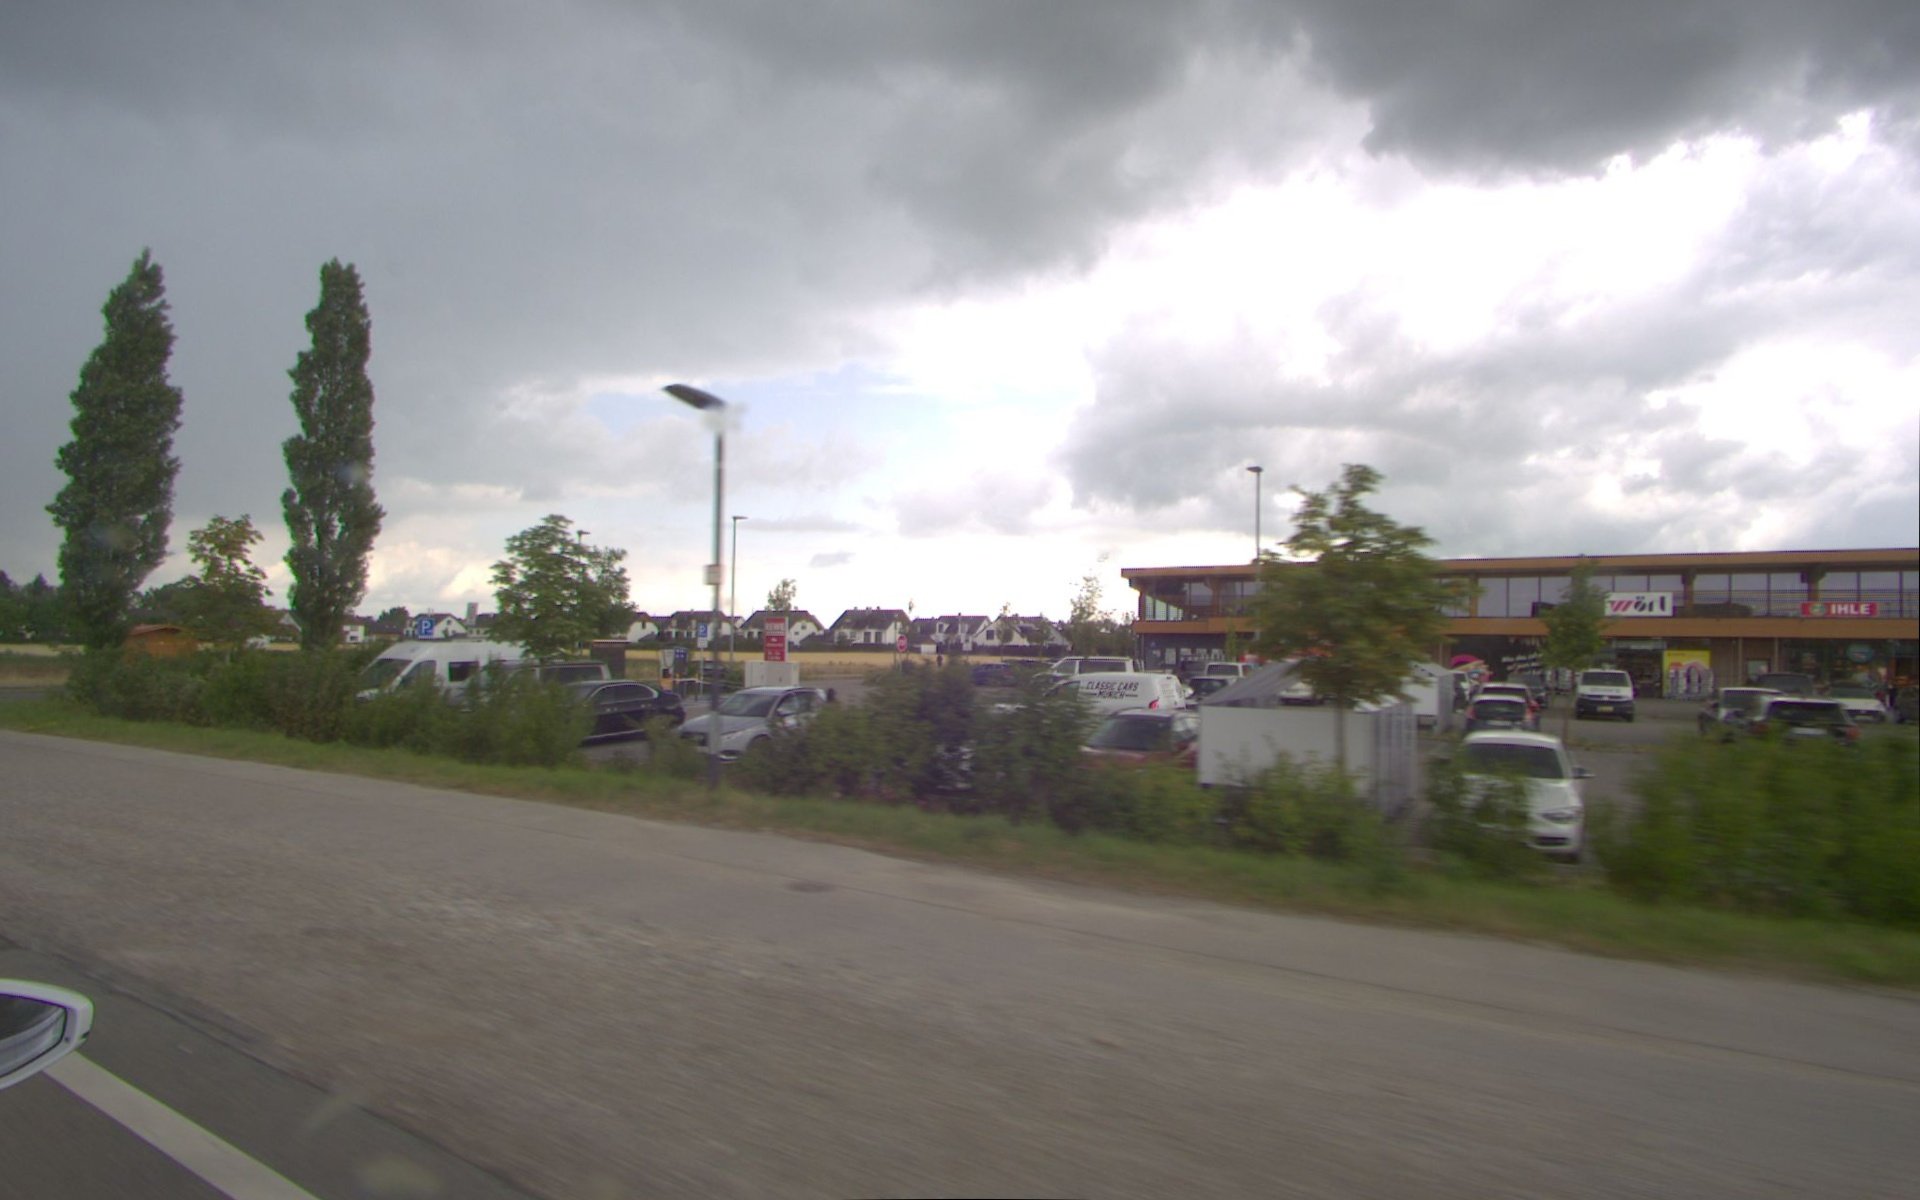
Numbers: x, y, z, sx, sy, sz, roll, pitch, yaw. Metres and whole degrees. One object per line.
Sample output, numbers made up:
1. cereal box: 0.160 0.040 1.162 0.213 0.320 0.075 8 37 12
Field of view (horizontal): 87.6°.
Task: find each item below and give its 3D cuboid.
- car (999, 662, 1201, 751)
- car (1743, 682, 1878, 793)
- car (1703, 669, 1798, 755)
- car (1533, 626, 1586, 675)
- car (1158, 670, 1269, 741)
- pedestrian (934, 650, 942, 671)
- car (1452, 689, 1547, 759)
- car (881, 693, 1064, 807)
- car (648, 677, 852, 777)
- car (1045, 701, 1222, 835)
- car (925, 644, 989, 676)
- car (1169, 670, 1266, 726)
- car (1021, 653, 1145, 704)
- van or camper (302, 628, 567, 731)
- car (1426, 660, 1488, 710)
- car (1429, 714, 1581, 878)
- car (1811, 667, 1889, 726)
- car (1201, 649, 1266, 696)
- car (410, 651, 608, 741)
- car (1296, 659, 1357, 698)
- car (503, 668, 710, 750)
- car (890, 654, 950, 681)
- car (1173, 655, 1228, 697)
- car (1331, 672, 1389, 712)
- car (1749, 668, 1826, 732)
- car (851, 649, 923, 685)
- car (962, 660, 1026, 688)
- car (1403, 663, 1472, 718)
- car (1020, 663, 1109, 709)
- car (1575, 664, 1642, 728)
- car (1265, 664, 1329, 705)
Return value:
1. car: 3.625 2.707 26.337 4.876 1.931 2.097 0 -1 35
2. car: 18.647 2.915 22.138 1.974 1.895 4.247 0 -1 36
3. car: 22.378 3.099 28.487 1.974 2.040 3.974 0 -1 36
4. car: 27.062 2.210 45.276 1.970 2.040 5.122 0 -1 31
5. car: 7.311 2.927 28.627 1.971 1.639 3.980 0 -1 32
6. pedestrian: -1.895 5.232 86.286 0.591 1.784 0.481 0 0 32
7. car: 13.895 3.093 25.676 1.971 1.460 3.983 0 -3 31
8. car: 0.365 2.698 18.828 1.651 1.558 4.141 0 -1 30
9. car: -4.363 2.601 21.415 2.049 1.618 4.141 0 -1 30
10. car: 2.931 2.599 16.290 1.651 1.558 3.751 0 -1 30
11. car: -0.237 4.067 68.155 3.943 2.040 1.990 0 -1 32
12. car: 9.077 3.368 35.089 1.974 1.639 3.974 0 -1 36
13. car: 5.402 3.392 43.762 5.138 2.040 1.998 0 -1 16
14. van or camper: -14.514 2.059 28.240 2.247 2.496 6.459 0 -1 29
15. car: 23.494 3.969 47.284 1.974 2.040 3.974 0 -1 36
16. car: 7.630 2.570 13.988 1.651 1.558 3.751 0 -1 30
17. car: 35.827 3.837 40.426 1.974 2.040 3.974 0 -1 36
18. car: 12.889 3.353 47.026 2.008 1.936 3.888 0 -1 30
19. car: -11.984 2.468 26.905 1.970 2.040 4.587 0 -1 30
20. car: 18.801 3.981 51.264 1.920 1.772 3.974 0 -1 36
21. car: -8.801 2.661 25.433 1.732 1.618 5.089 0 -1 30
22. car: -2.582 4.304 64.212 3.528 1.527 1.742 0 -1 32
23. car: 13.186 4.094 54.696 1.823 2.036 4.212 0 -1 30
24. car: 17.751 4.031 44.369 1.767 1.496 3.731 0 -1 32
25. car: 30.580 3.631 37.105 1.974 2.040 3.974 0 -1 36
26. car: -4.431 4.024 60.740 3.943 2.040 1.990 0 -1 32
27. car: 2.041 4.444 60.383 3.528 1.527 1.742 0 -1 32
28. car: 20.470 3.806 42.859 1.974 2.040 3.974 0 -1 36
29. car: 4.051 3.243 38.278 1.873 1.451 4.172 0 -1 30
30. car: 25.116 3.648 38.905 1.970 2.040 5.122 0 -1 31
31. car: 15.469 3.832 45.862 2.010 1.628 3.731 0 -1 32
